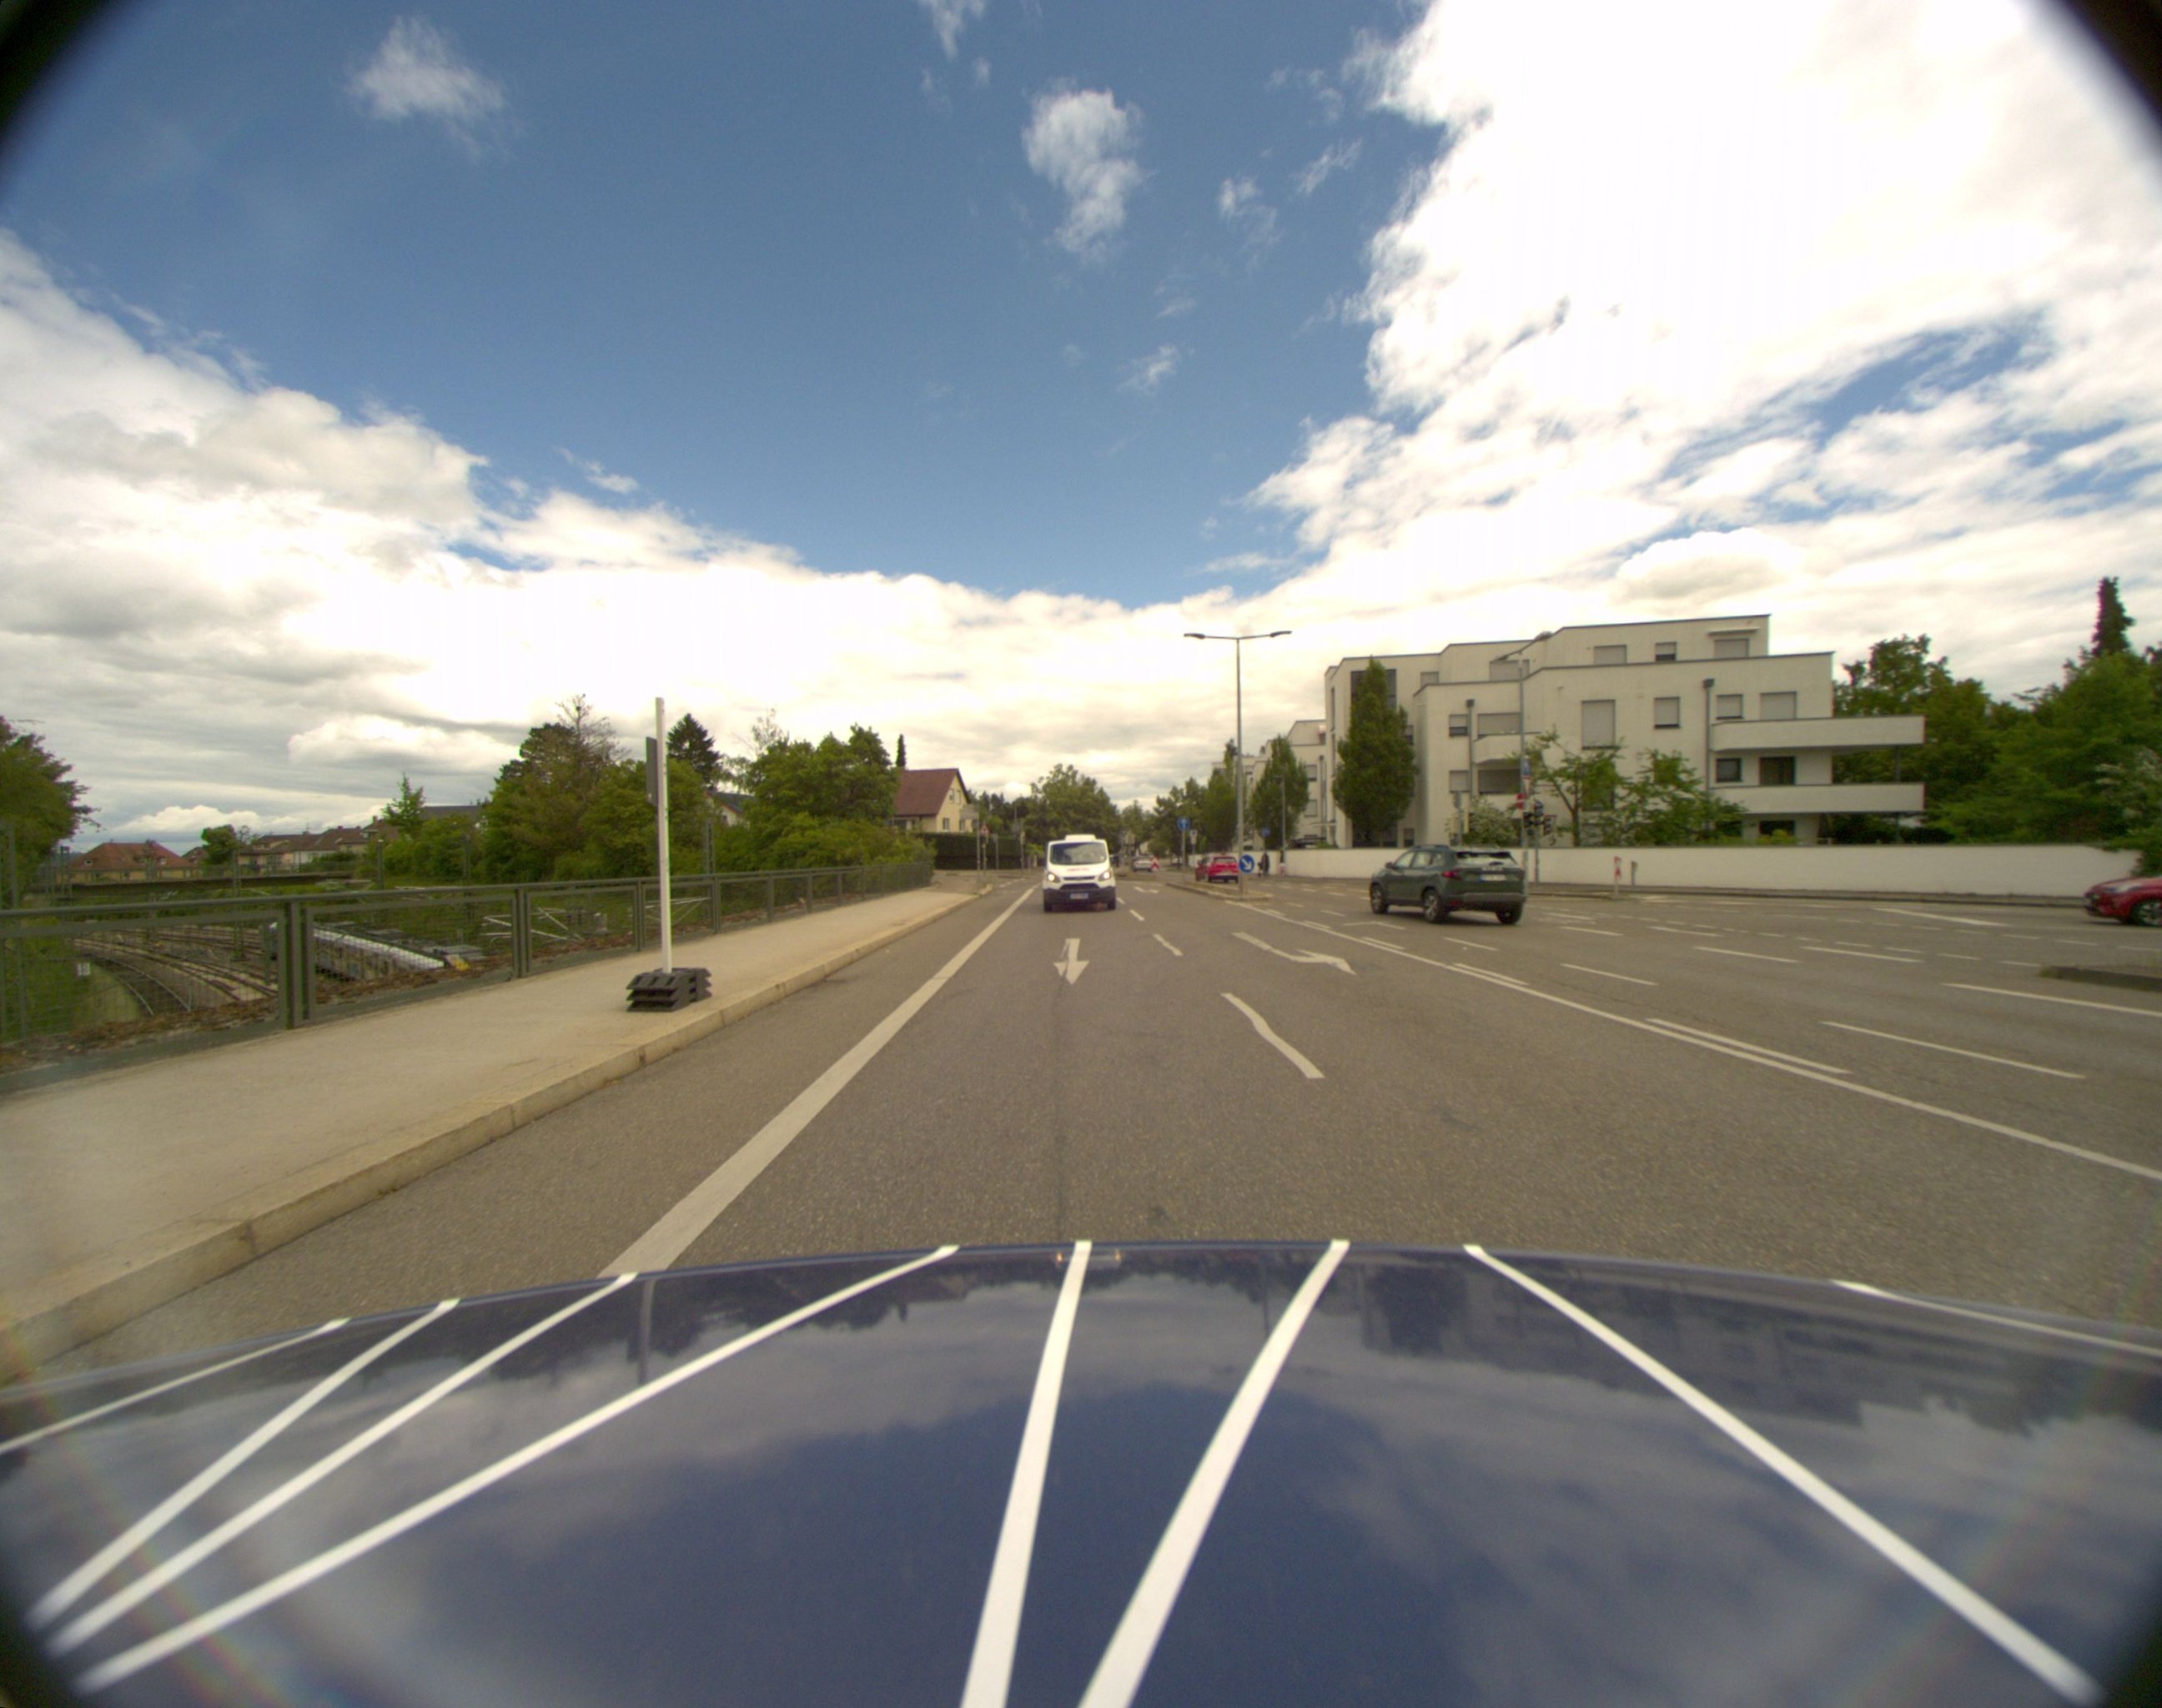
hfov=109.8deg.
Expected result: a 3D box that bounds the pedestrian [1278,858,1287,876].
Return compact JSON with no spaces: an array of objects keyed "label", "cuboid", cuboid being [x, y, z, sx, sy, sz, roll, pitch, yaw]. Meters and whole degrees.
[{"label":"pedestrian","cuboid":[11.924,0.756,44.991,0.326,1.056,0.444,-5,1,-2]}]

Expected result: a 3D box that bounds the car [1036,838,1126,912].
[{"label":"car","cuboid":[0.154,0.576,23.361,2.074,1.956,5.560,-2,0,7]}]

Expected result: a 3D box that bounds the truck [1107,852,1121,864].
[{"label":"truck","cuboid":[4.874,0.578,111.946,1.614,1.780,4.003,0,0,10]}]

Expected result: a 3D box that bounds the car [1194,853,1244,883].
[{"label":"car","cuboid":[7.135,0.689,39.656,1.725,1.439,4.065,1,0,-2]}]

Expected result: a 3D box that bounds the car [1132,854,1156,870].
[{"label":"car","cuboid":[5.807,0.747,70.534,1.647,1.401,3.817,0,0,-3]}]

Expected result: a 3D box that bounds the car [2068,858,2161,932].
[{"label":"car","cuboid":[22.742,0.846,15.003,3.692,1.438,1.779,2,1,43]}]

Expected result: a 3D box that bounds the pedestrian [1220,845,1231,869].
[{"label":"pedestrian","cuboid":[12.236,0.247,64.503,0.650,1.937,0.871,-3,1,0]}]

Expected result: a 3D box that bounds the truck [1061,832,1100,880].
[{"label":"truck","cuboid":[-0.036,0.086,43.695,2.036,2.555,6.057,0,0,0]}]

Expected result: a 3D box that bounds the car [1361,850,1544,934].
[{"label":"car","cuboid":[7.987,0.718,16.848,1.828,1.617,4.277,0,0,-2]}]

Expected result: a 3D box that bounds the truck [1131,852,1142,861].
[{"label":"truck","cuboid":[9.956,0.389,137.187,1.617,1.649,4.003,0,0,10]}]

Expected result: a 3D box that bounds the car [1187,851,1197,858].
[{"label":"car","cuboid":[25.009,0.137,170.855,1.888,1.606,4.004,0,0,12]}]

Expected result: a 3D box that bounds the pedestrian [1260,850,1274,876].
[{"label":"pedestrian","cuboid":[11.329,0.547,46.308,0.533,1.534,0.731,-5,1,-3]}]

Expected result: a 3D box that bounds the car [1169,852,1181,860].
[{"label":"car","cuboid":[17.842,0.364,144.218,1.915,1.643,4.004,0,0,12]}]

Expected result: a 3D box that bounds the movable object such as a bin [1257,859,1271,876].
[{"label":"movable object such as a bin","cuboid":[11.337,0.830,47.146,0.498,0.954,0.986,-5,1,-3]}]
